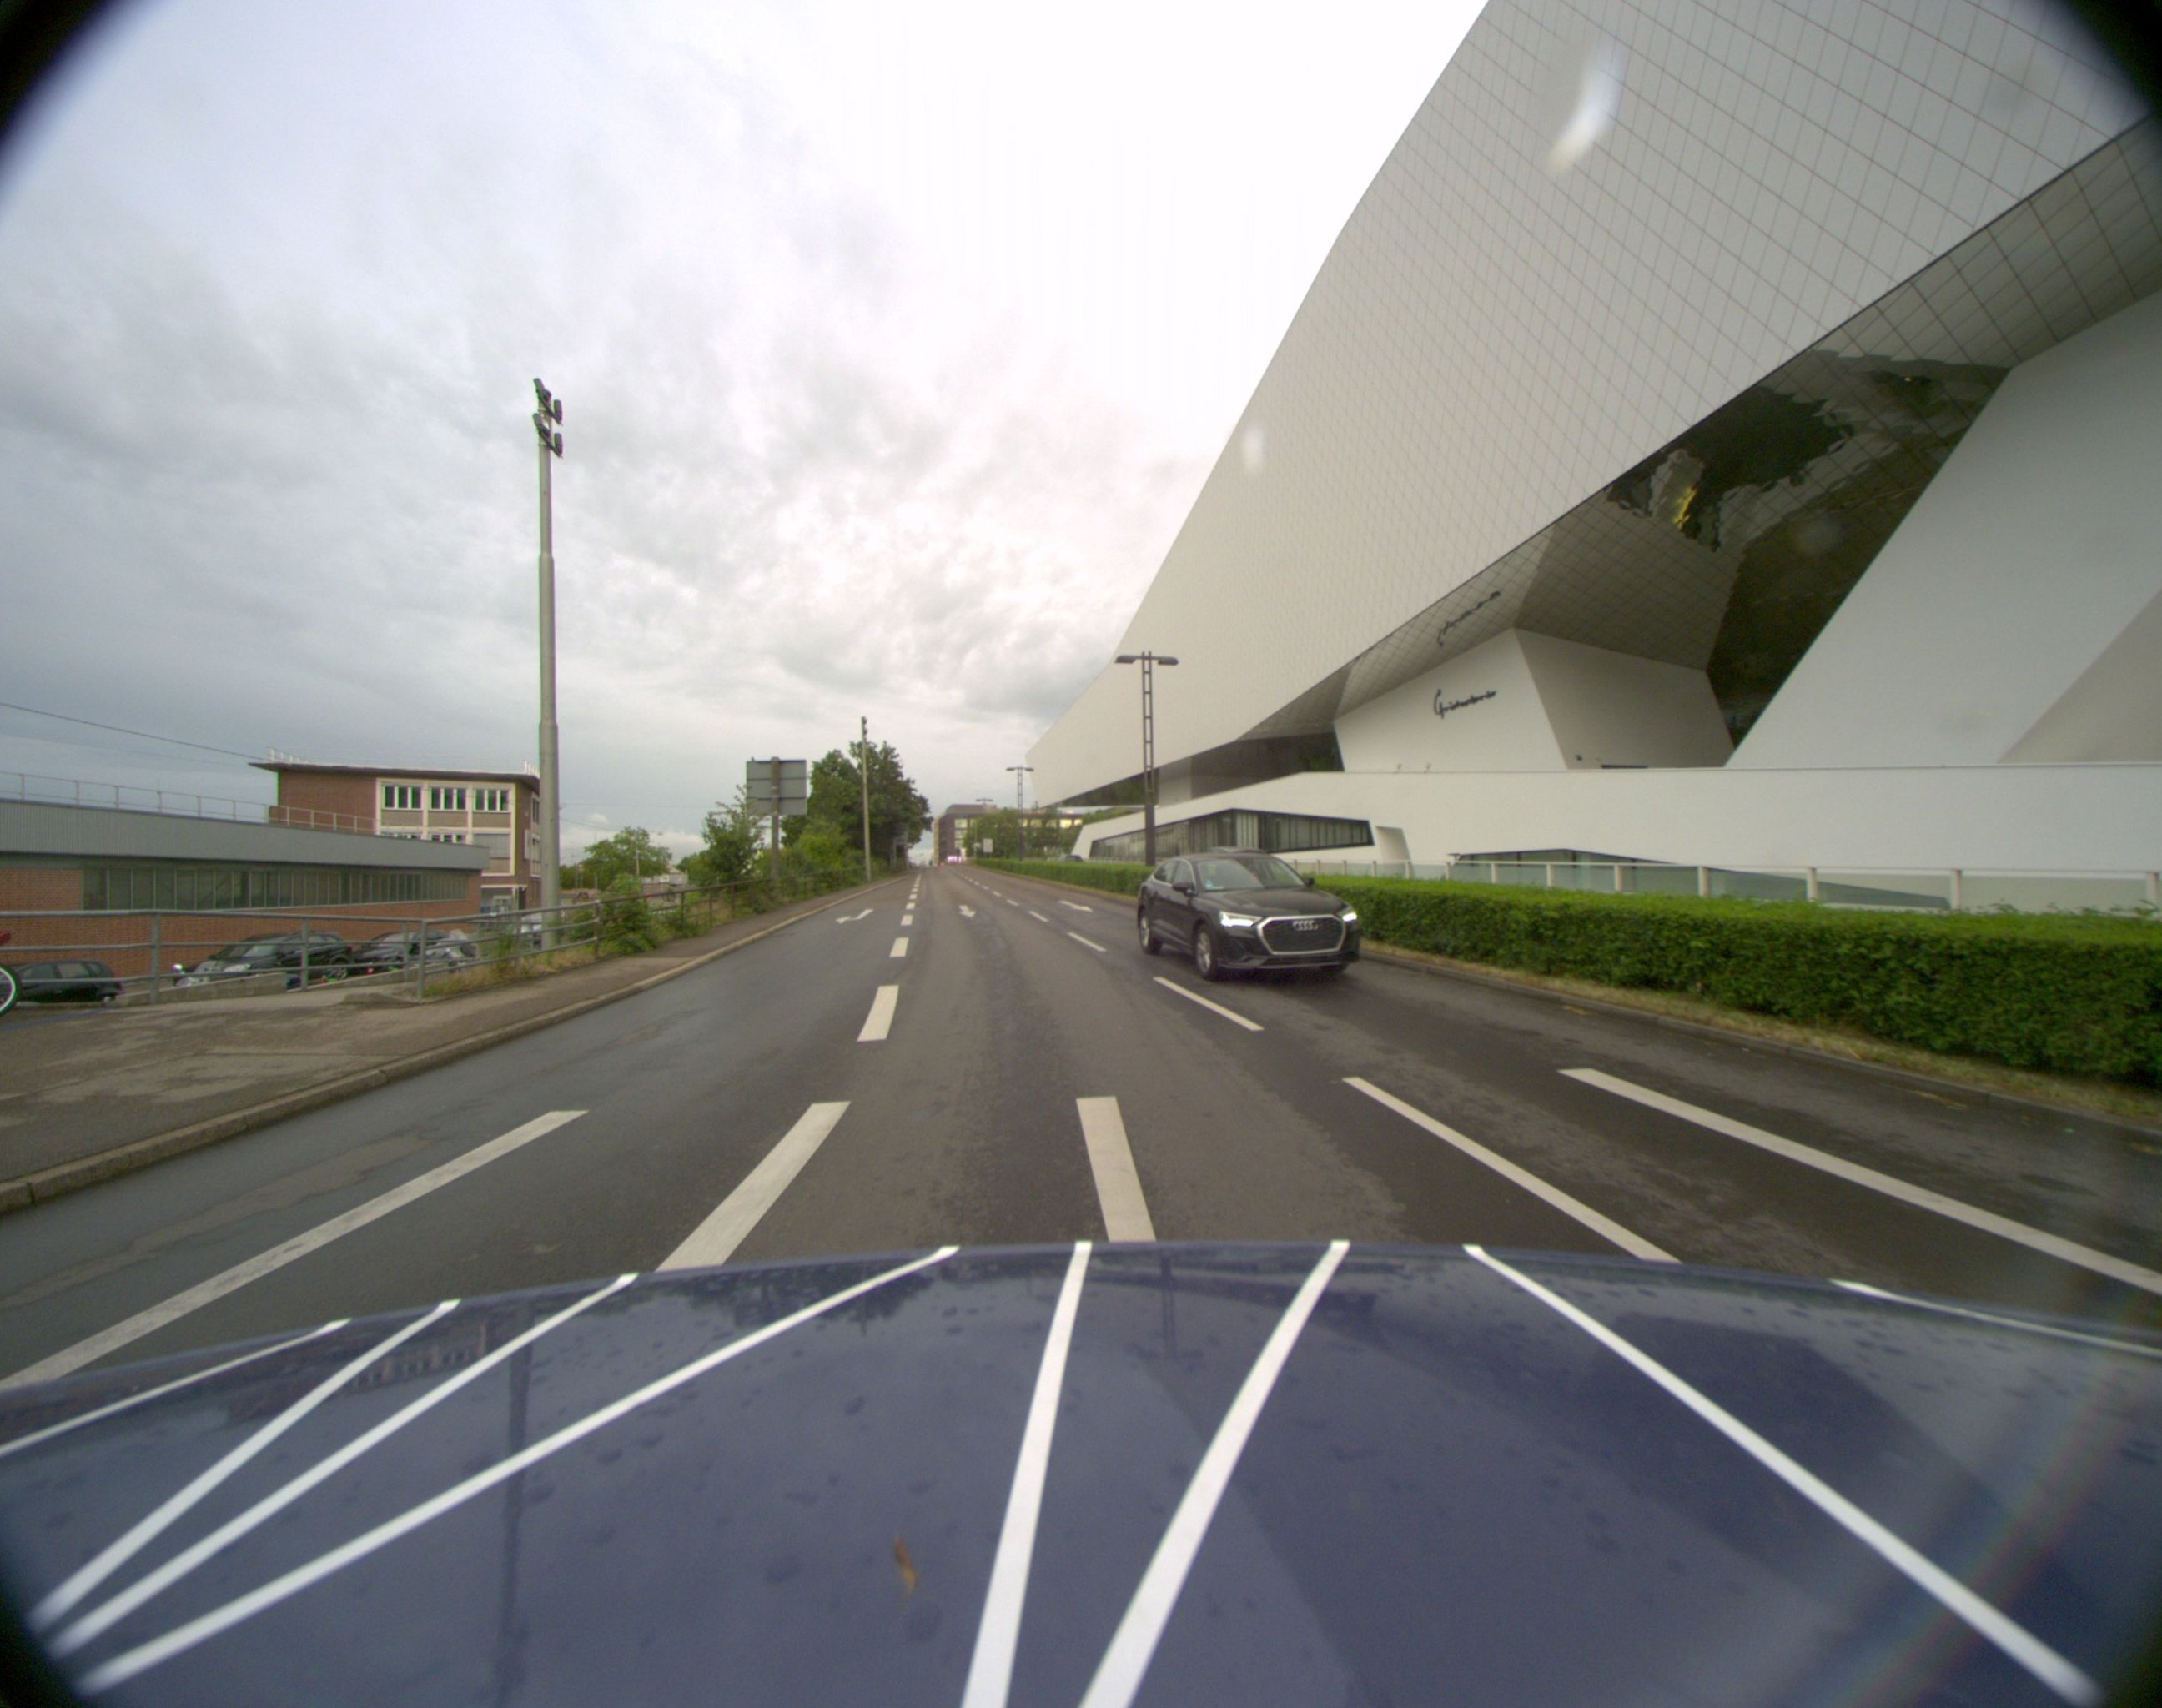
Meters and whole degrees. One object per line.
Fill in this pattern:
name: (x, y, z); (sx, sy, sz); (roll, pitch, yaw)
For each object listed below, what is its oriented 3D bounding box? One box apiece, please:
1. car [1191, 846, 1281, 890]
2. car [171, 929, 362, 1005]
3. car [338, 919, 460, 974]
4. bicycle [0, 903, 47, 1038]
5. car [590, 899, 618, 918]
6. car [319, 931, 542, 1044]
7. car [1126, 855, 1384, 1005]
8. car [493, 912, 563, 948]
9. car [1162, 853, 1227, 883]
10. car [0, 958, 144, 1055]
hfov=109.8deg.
car: (5.568, 0.481, 27.825); (1.839, 1.485, 3.996); (-1, 0, -10)
car: (-24.347, 3.301, 22.991); (1.638, 1.621, 4.425); (-1, 0, -12)
car: (-25.775, 3.445, 28.897); (1.704, 1.546, 3.853); (-1, 0, -12)
bicycle: (-10.591, 1.061, 6.532); (1.935, 1.171, 0.598); (-1, 1, -27)
car: (-42.001, 4.814, 66.942); (1.670, 1.387, 3.992); (-2, 0, -27)
car: (-12.800, 2.534, 15.301); (1.704, 1.546, 3.853); (-1, 0, -12)
car: (2.055, 0.815, 10.402); (1.843, 1.574, 4.285); (-1, 0, -11)
car: (-30.010, 4.077, 41.383); (1.704, 1.546, 3.852); (-1, 0, -14)
car: (5.896, 0.712, 39.967); (1.840, 1.463, 4.508); (-1, 0, -13)
car: (-23.139, 3.326, 16.281); (1.704, 1.618, 3.927); (-1, 0, -11)
